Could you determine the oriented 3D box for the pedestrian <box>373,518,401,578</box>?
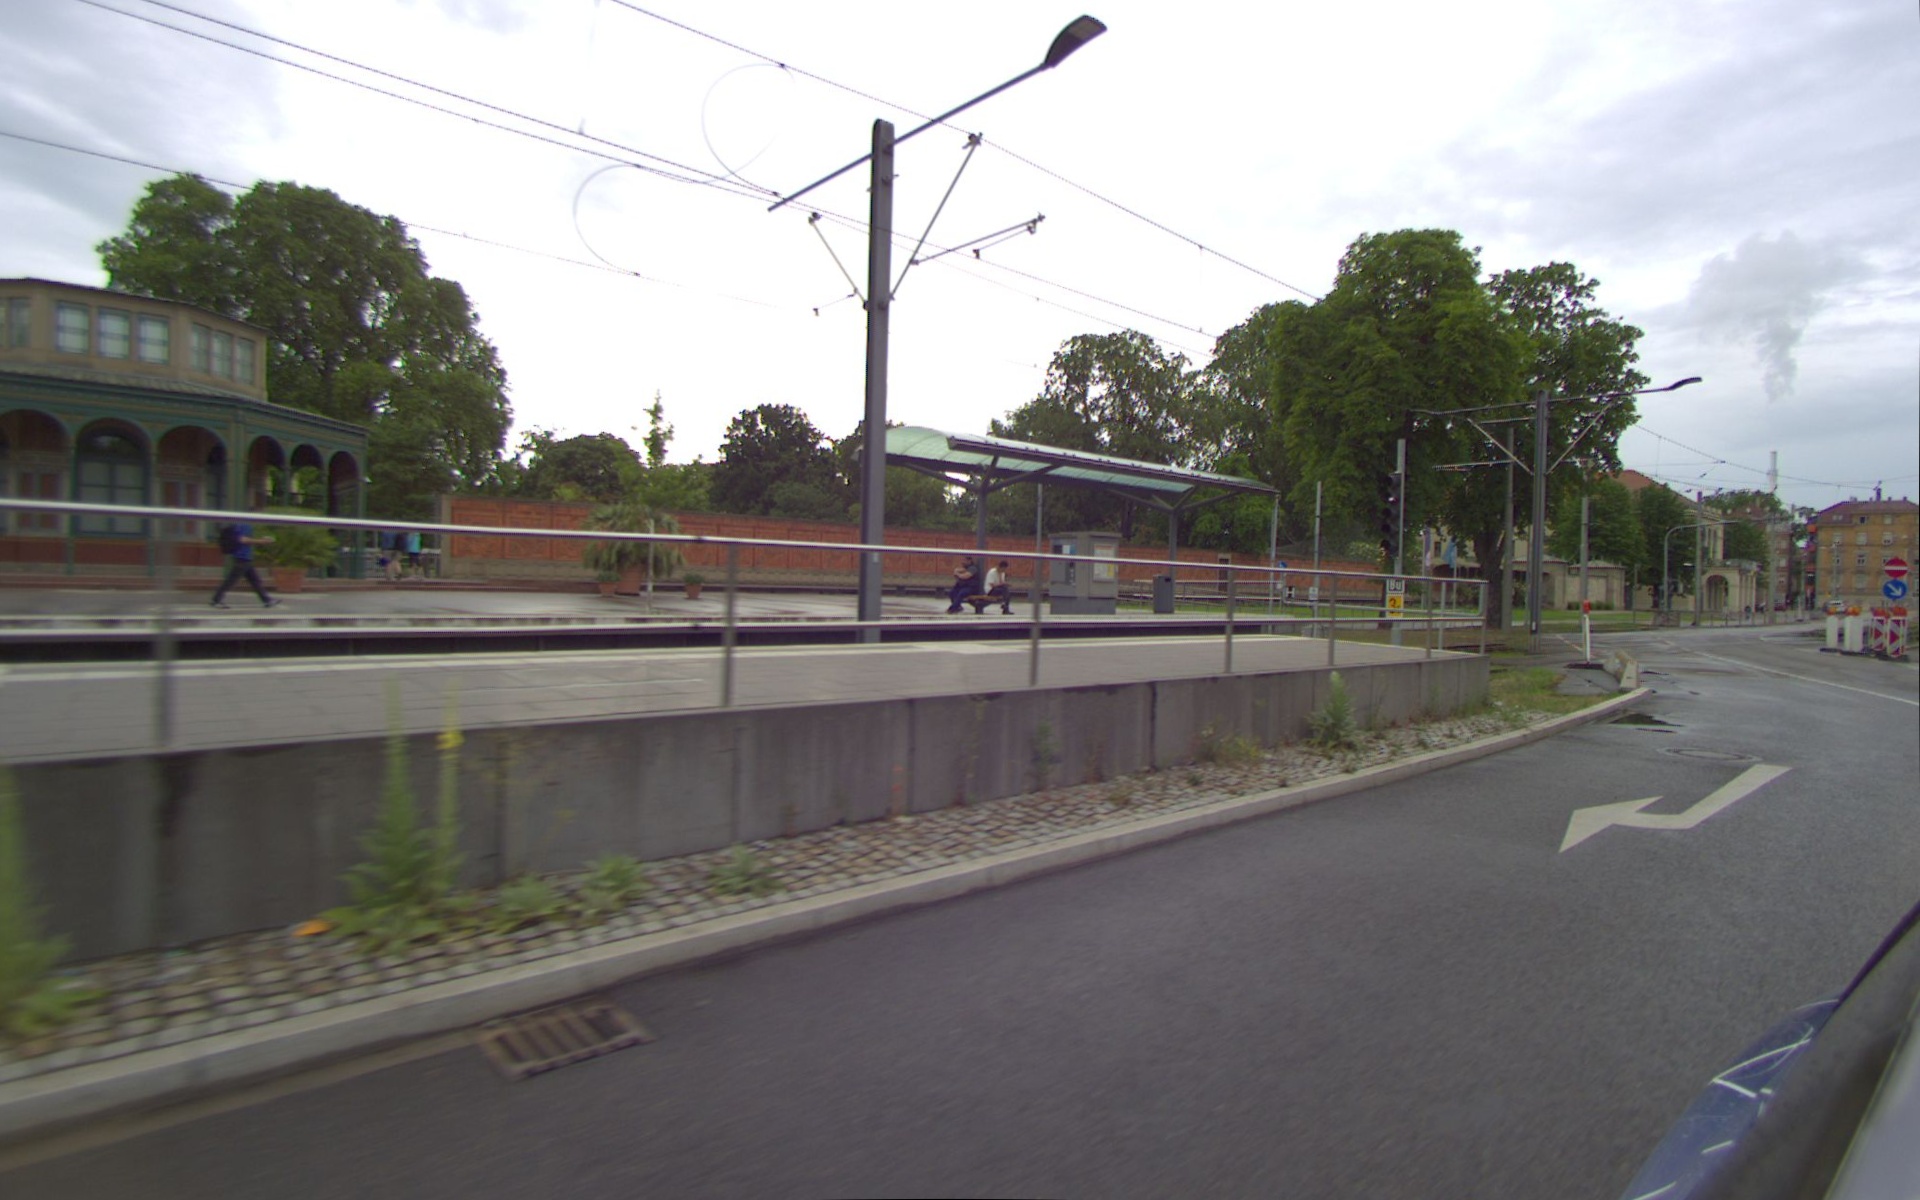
[{"bbox_3d":[-16.937,-1.538,29.908,0.681,1.732,0.533,-1,0,-30],"label":"pedestrian"}]

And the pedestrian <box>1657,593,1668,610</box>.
[{"bbox_3d":[76.114,0.160,109.597,0.964,1.732,0.730,0,2,-41],"label":"pedestrian"}]

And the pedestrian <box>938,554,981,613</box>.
[{"bbox_3d":[-0.013,-0.356,22.104,0.518,1.228,0.770,-4,-2,45],"label":"pedestrian"}]

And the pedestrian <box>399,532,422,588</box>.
[{"bbox_3d":[-16.629,-1.192,30.635,0.460,1.677,0.552,0,1,-7],"label":"pedestrian"}]

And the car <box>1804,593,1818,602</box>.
[{"bbox_3d":[158.889,-0.554,188.975,1.825,1.602,3.939,2,2,42],"label":"car"}]

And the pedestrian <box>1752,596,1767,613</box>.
[{"bbox_3d":[80.276,0.479,101.651,0.654,1.610,0.868,2,2,-15],"label":"pedestrian"}]

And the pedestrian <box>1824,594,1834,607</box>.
[{"bbox_3d":[119.330,0.054,138.946,0.768,1.830,0.697,0,0,8],"label":"pedestrian"}]

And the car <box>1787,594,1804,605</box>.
[{"bbox_3d":[131.529,-0.125,159.347,1.825,1.602,3.939,2,2,42],"label":"car"}]

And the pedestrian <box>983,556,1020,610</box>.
[{"bbox_3d":[0.912,-0.363,22.104,0.597,1.133,0.514,-3,-2,33],"label":"pedestrian"}]

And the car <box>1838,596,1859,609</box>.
[{"bbox_3d":[116.496,0.303,132.700,1.838,1.660,4.077,-2,-1,44],"label":"car"}]

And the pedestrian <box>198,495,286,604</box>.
[{"bbox_3d":[-12.537,-0.865,17.669,1.161,1.812,0.722,1,2,-41],"label":"pedestrian"}]

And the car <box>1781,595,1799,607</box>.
[{"bbox_3d":[124.223,0.117,151.515,1.825,1.602,3.939,2,2,42],"label":"car"}]

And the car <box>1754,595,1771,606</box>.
[{"bbox_3d":[122.085,0.070,153.901,1.858,1.568,4.005,1,1,42],"label":"car"}]
